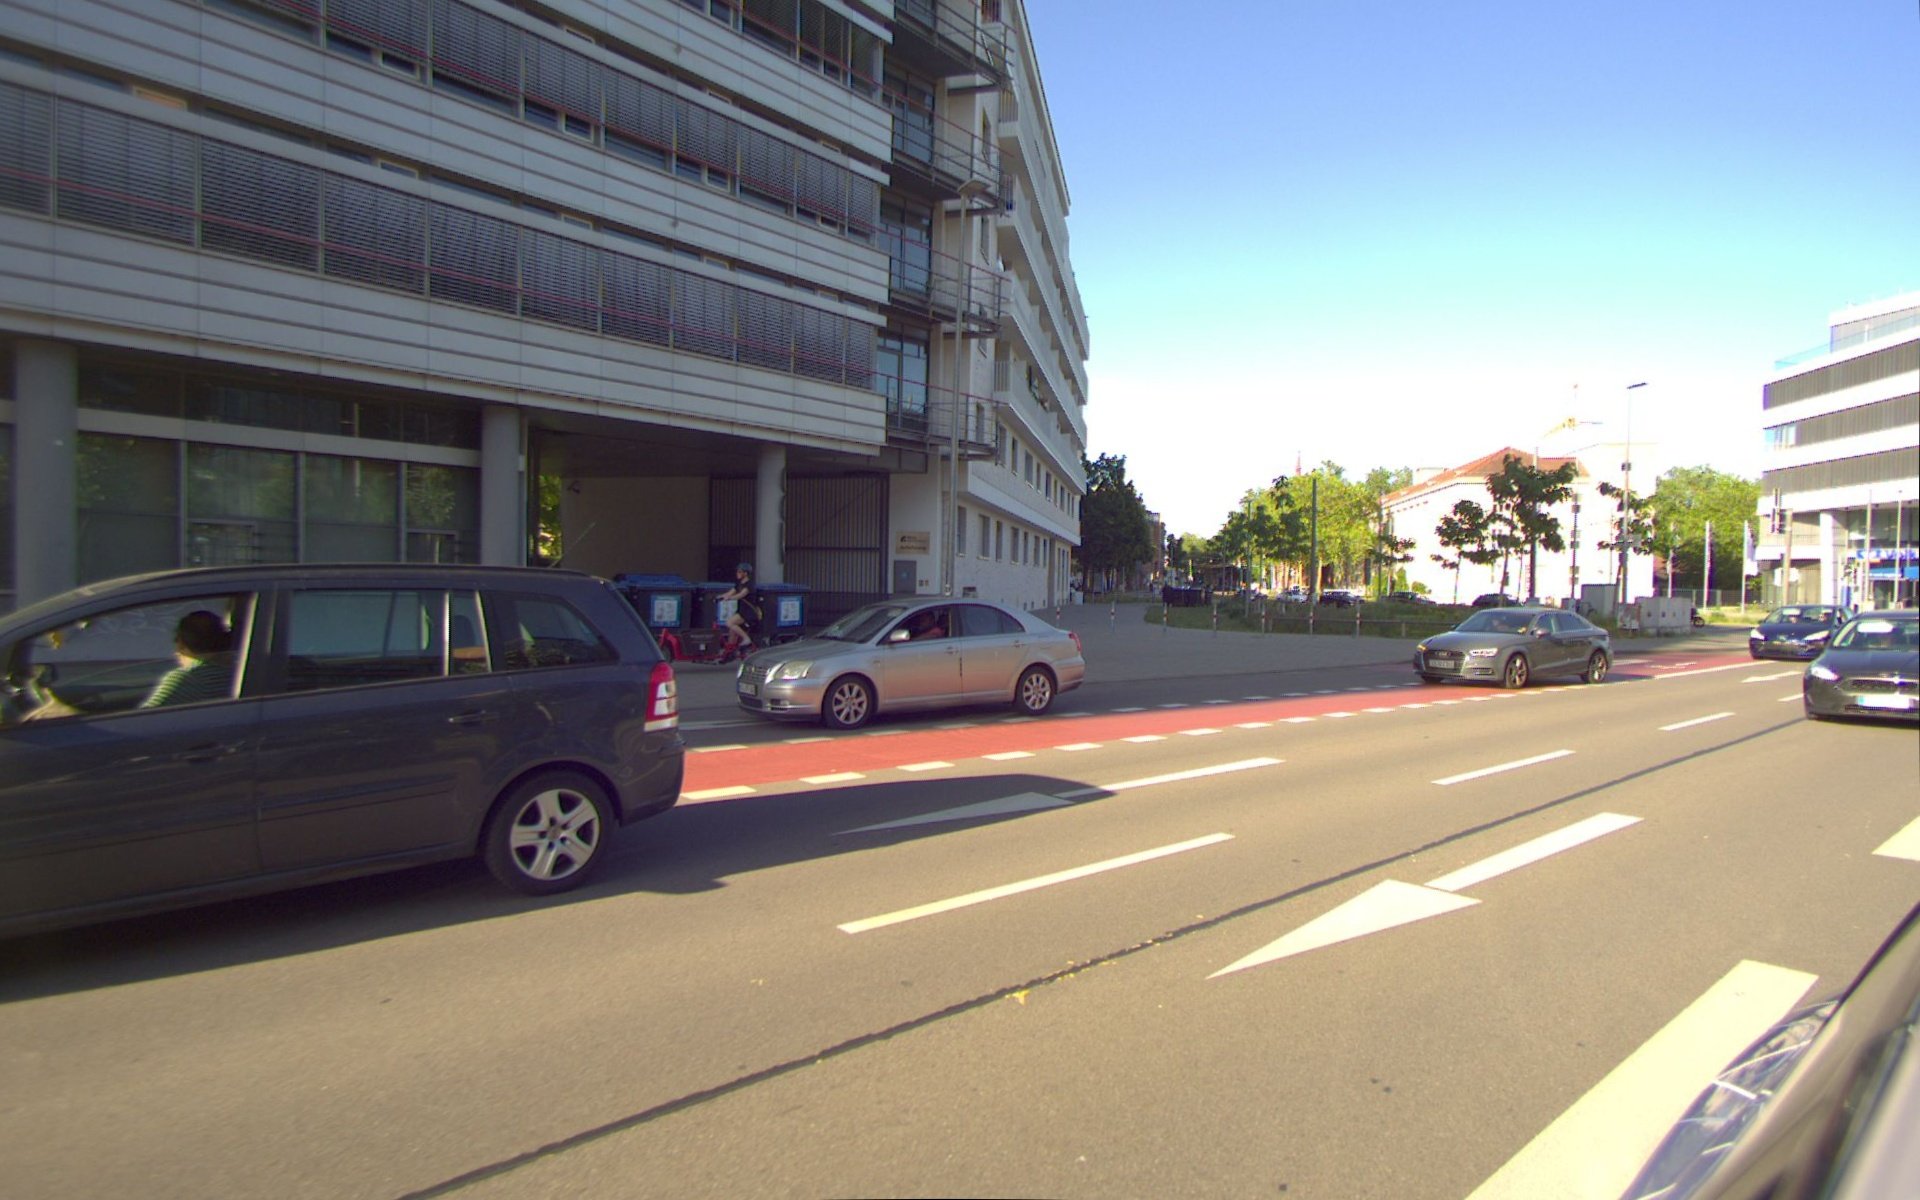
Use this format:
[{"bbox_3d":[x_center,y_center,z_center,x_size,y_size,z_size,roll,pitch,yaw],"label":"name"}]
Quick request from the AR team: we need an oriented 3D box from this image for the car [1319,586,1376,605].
[{"bbox_3d":[32.637,-0.395,85.303,1.958,1.440,4.536,0,1,-20],"label":"car"}]

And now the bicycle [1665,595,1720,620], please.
[{"bbox_3d":[42.004,0.413,58.044,0.932,1.328,2.375,0,1,-29],"label":"bicycle"}]

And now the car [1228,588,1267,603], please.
[{"bbox_3d":[28.478,-0.501,100.341,1.894,1.393,4.009,1,1,-16],"label":"car"}]

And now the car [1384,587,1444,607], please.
[{"bbox_3d":[35.142,-0.245,78.450,1.958,1.440,4.009,0,1,-22],"label":"car"}]

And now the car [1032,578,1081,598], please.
[{"bbox_3d":[8.665,-1.086,91.063,3.919,1.738,2.003,0,1,-30],"label":"car"}]

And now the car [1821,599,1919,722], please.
[{"bbox_3d":[12.936,0.713,13.419,4.080,1.451,1.688,0,0,-41],"label":"car"}]

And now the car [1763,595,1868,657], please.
[{"bbox_3d":[22.747,0.637,26.867,3.934,1.464,1.733,0,2,-44],"label":"car"}]

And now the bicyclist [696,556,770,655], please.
[{"bbox_3d":[-3.765,0.082,16.806,1.024,1.586,0.626,0,1,-36],"label":"bicyclist"}]

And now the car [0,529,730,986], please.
[{"bbox_3d":[-3.470,0.545,4.759,4.384,1.649,1.691,0,1,-41],"label":"car"}]

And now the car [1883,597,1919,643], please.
[{"bbox_3d":[32.762,0.680,33.980,3.919,1.464,1.442,1,1,-29],"label":"car"}]

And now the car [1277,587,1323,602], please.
[{"bbox_3d":[30.839,-0.492,91.881,1.958,1.259,4.009,1,1,-16],"label":"car"}]

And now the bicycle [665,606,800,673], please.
[{"bbox_3d":[-3.751,0.631,16.836,2.164,1.045,0.500,0,1,-36],"label":"bicycle"}]

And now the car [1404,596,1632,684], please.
[{"bbox_3d":[10.303,0.671,18.646,4.027,1.459,1.718,0,1,-27],"label":"car"}]

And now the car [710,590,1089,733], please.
[{"bbox_3d":[-0.644,0.636,12.491,4.403,1.449,1.757,0,1,-35],"label":"car"}]

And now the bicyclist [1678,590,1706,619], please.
[{"bbox_3d":[42.011,0.252,58.064,0.862,1.627,1.009,0,1,-29],"label":"bicyclist"}]
